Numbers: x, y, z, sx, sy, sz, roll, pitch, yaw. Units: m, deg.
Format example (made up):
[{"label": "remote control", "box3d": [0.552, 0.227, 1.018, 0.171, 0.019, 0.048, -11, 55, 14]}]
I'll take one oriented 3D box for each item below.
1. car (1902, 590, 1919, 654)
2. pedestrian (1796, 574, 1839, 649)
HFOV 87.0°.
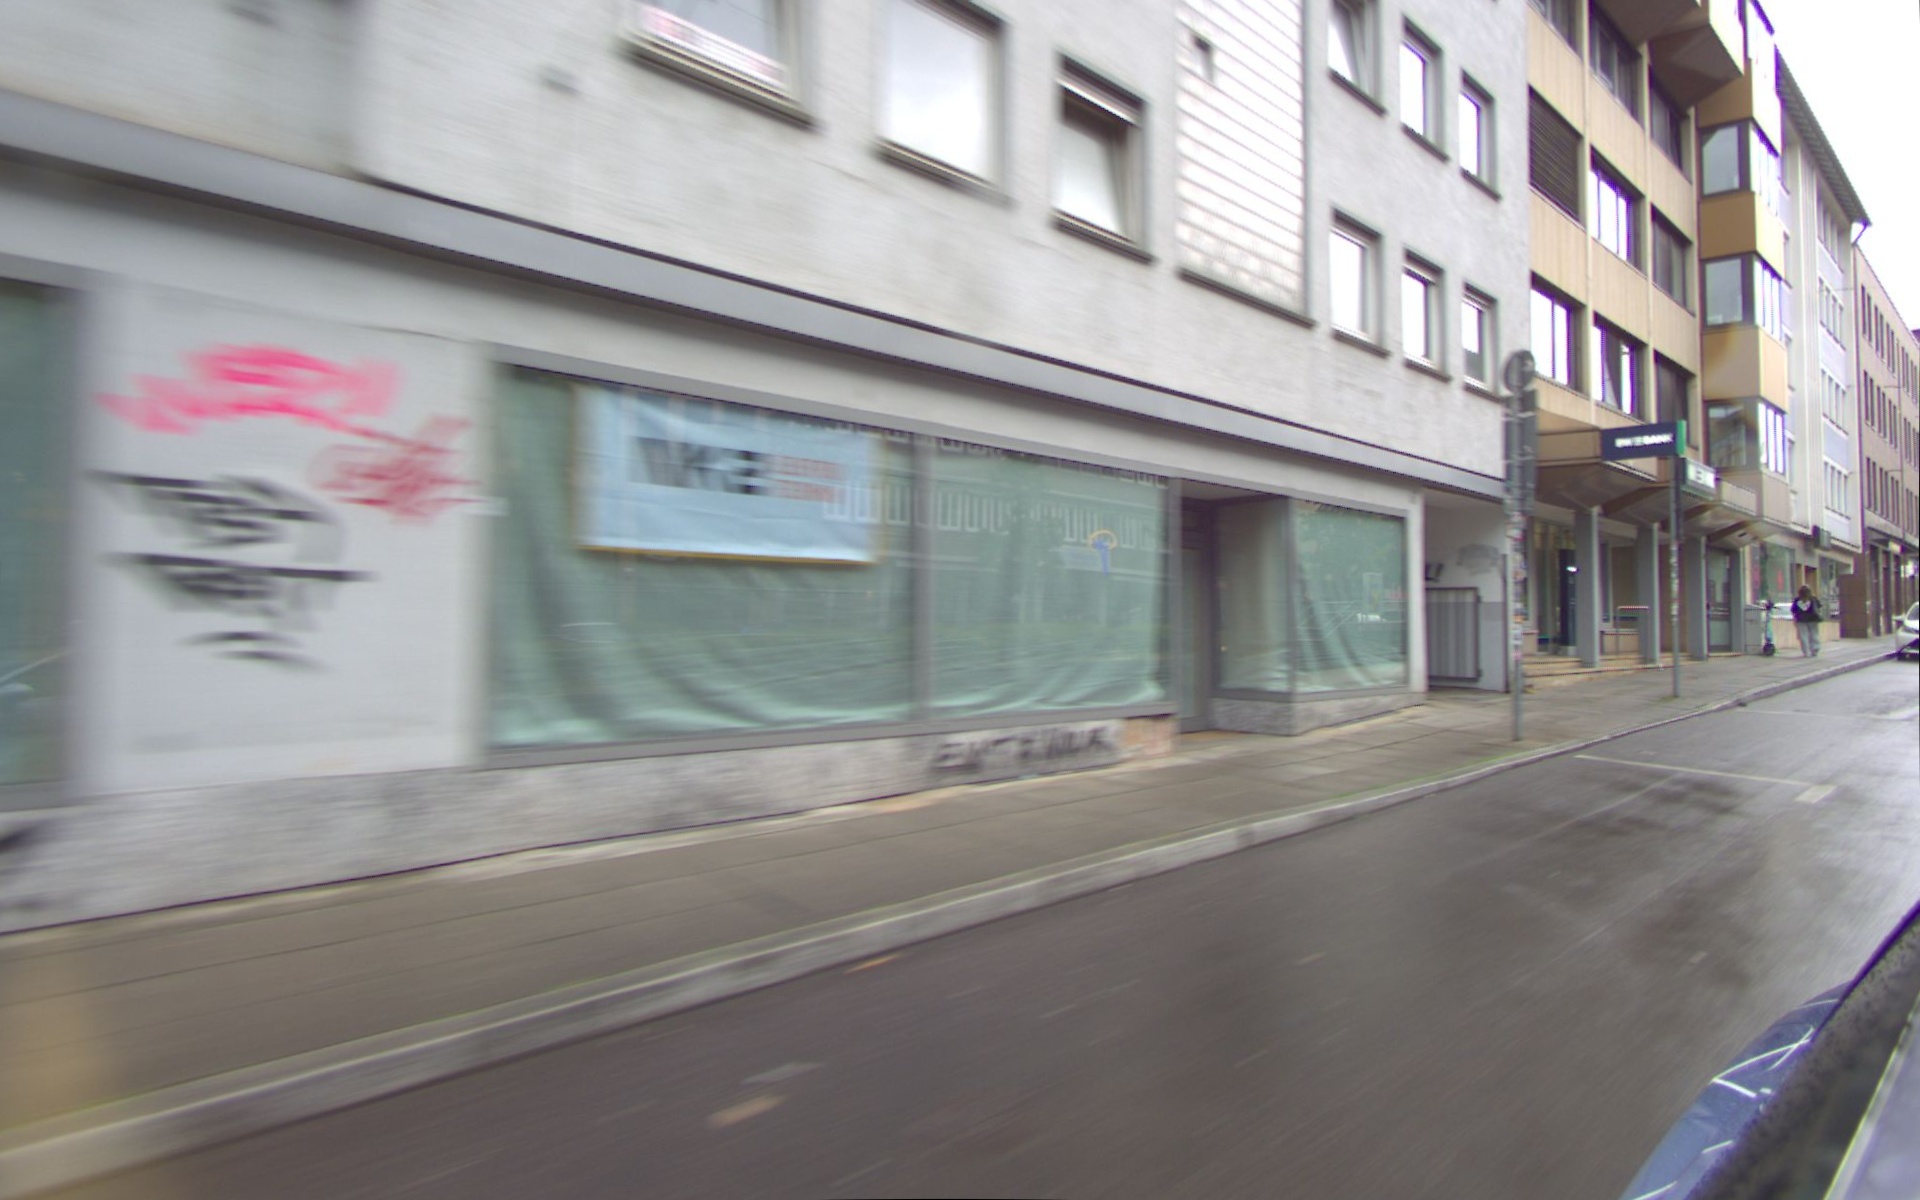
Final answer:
[{"label": "car", "box3d": [24.810, 0.509, 25.121, 3.996, 1.517, 1.652, 0, 0, -41]}, {"label": "pedestrian", "box3d": [20.118, 0.269, 23.743, 0.867, 1.722, 0.639, 0, -1, -40]}]
